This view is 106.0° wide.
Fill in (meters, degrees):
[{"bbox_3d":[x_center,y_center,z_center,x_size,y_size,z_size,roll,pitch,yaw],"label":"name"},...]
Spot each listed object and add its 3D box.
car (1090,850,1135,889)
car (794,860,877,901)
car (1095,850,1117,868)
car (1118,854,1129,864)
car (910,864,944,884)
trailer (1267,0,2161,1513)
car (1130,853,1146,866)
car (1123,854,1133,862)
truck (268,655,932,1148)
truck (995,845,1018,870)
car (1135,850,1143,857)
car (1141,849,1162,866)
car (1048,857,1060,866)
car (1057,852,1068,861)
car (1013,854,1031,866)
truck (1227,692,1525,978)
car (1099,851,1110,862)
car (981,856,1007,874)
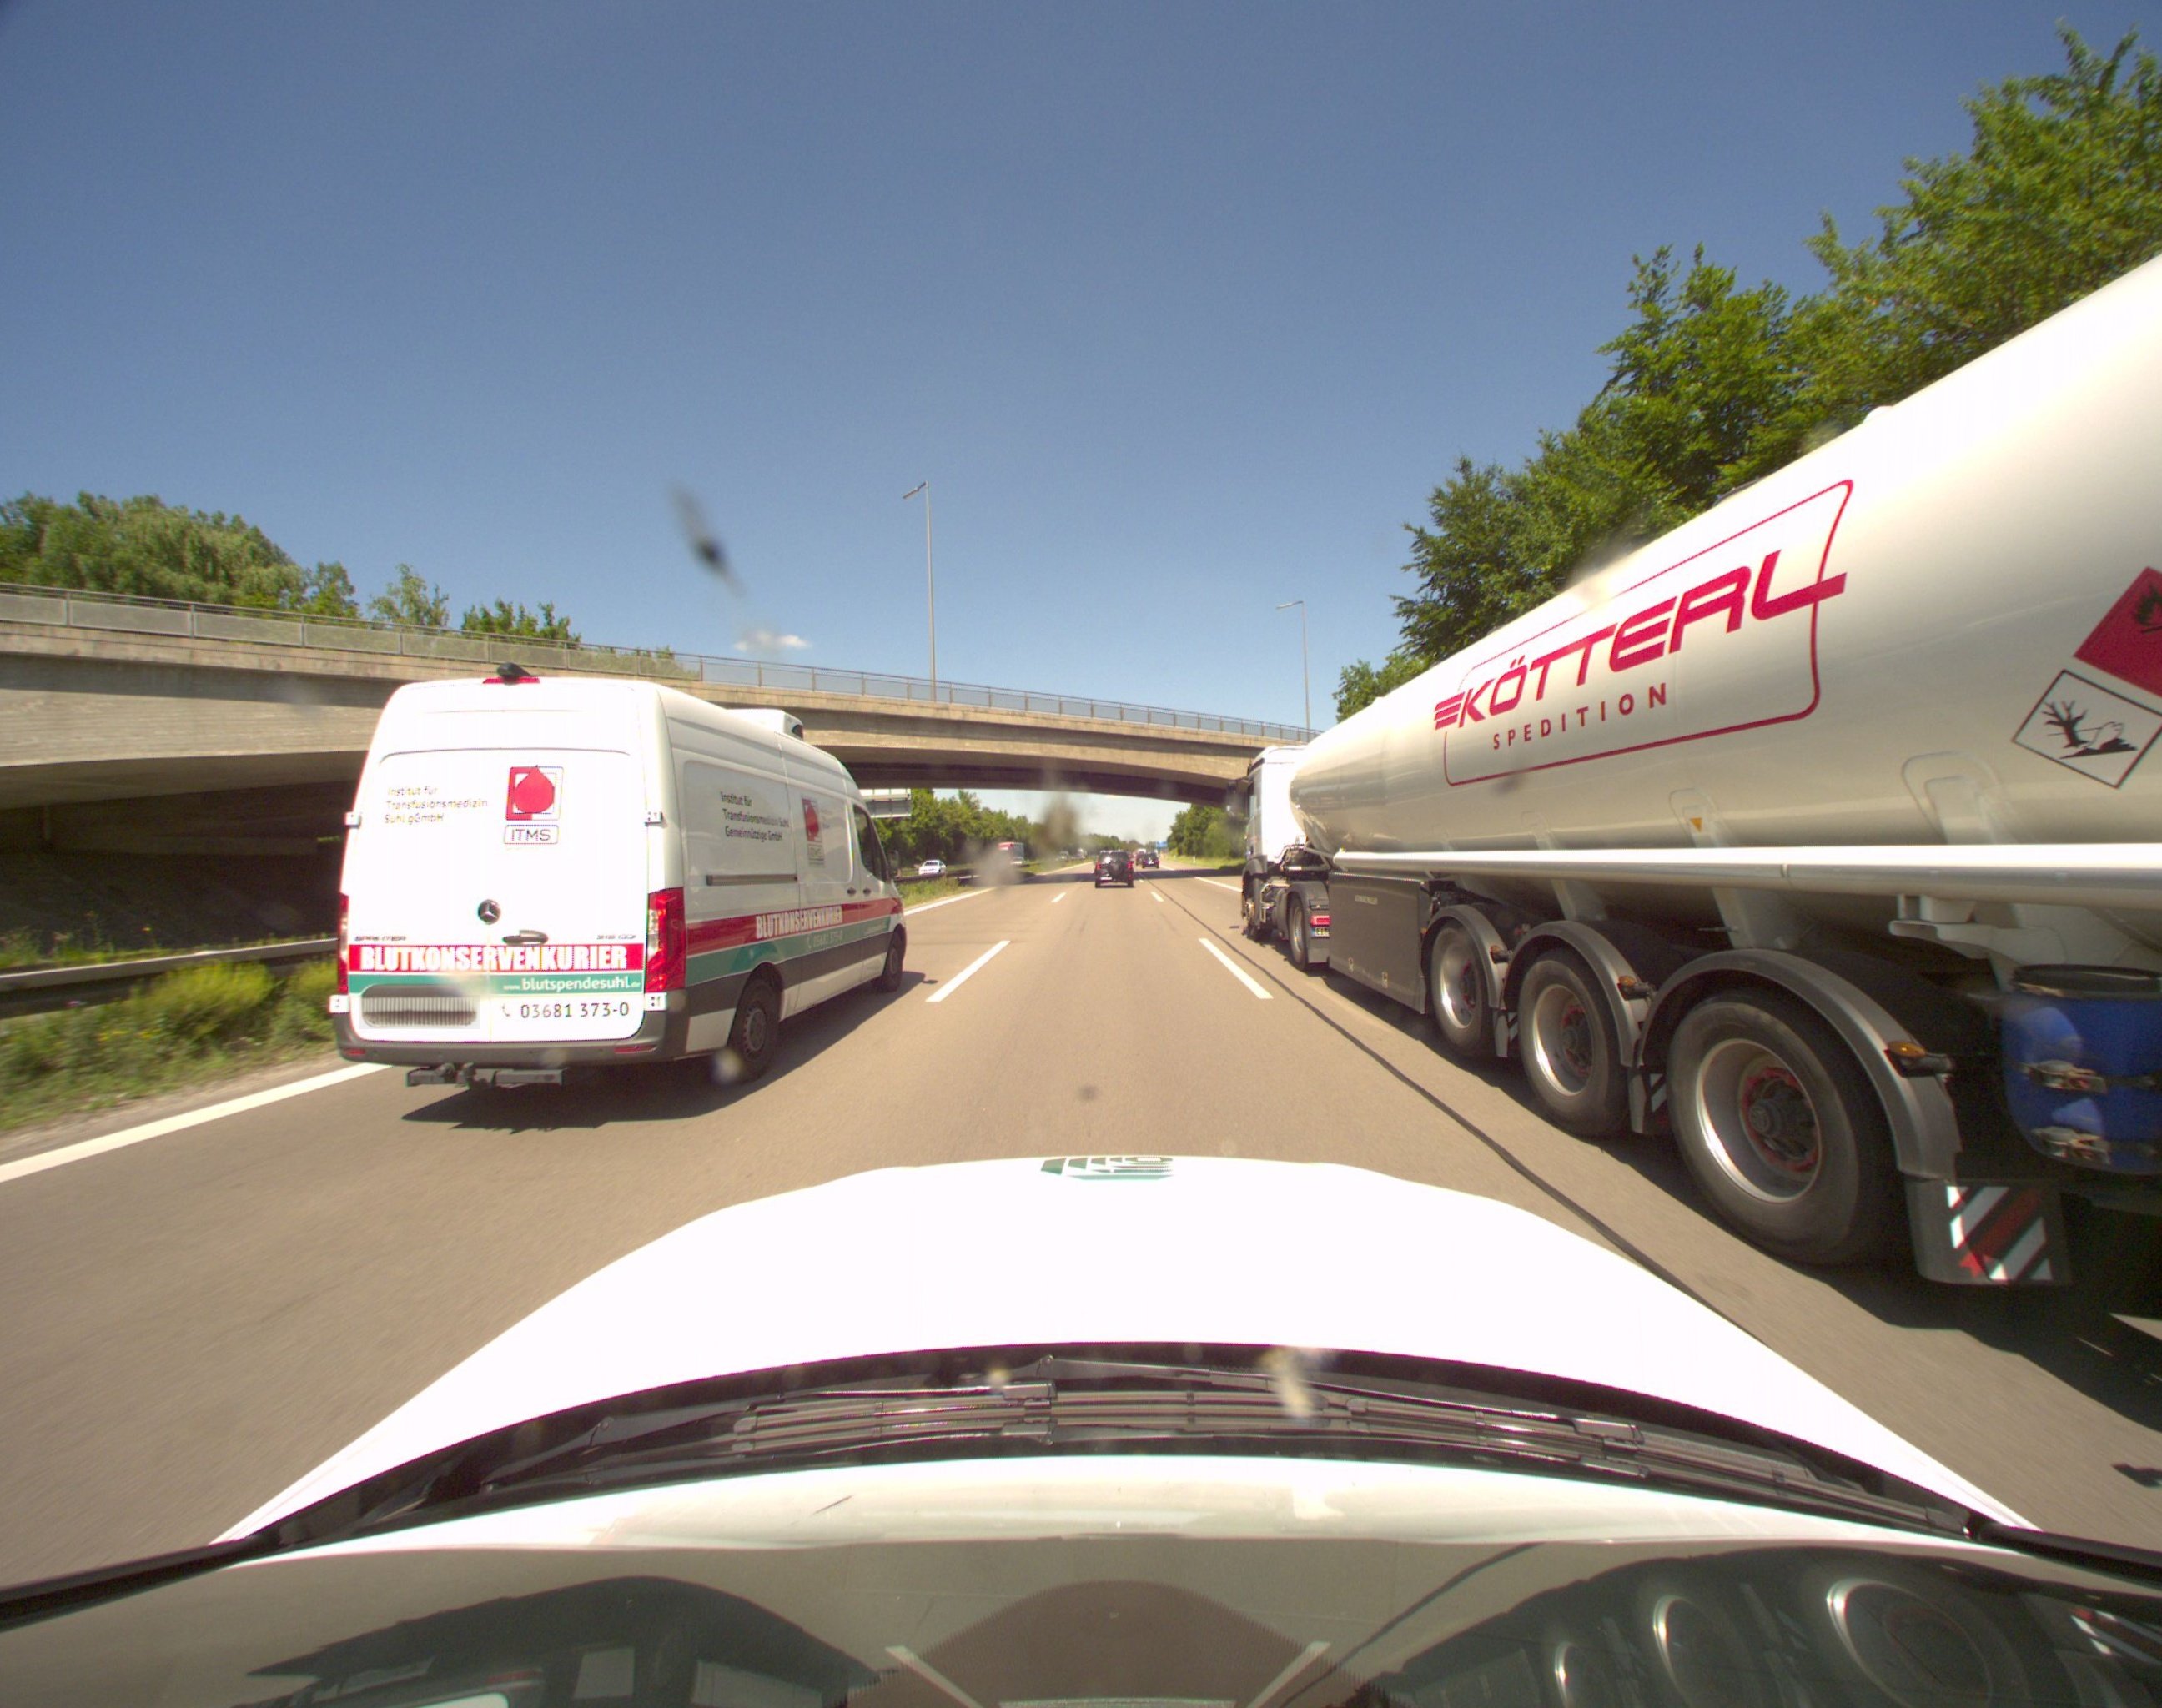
[{"bbox_3d":[1.420,0.678,37.792,1.900,1.665,4.000,-2,0,0],"label":"car"},{"bbox_3d":[-10.221,1.062,34.247,1.853,1.527,4.753,-2,0,2],"label":"car"},{"bbox_3d":[2.526,0.524,81.859,1.985,1.706,4.339,-2,0,3],"label":"car"},{"bbox_3d":[8.454,0.955,162.417,1.986,2.013,4.769,-2,0,2],"label":"car"},{"bbox_3d":[-12.867,1.653,68.214,1.853,1.527,4.216,-2,0,2],"label":"car"},{"bbox_3d":[3.881,-0.215,6.299,2.638,3.390,11.156,-1,0,2],"label":"trailer"},{"bbox_3d":[7.264,0.720,103.786,1.835,1.611,4.002,-2,-1,2],"label":"car"},{"bbox_3d":[11.350,1.016,196.741,1.986,1.750,4.206,-2,0,1],"label":"car"},{"bbox_3d":[-3.113,0.242,7.571,1.986,2.542,6.695,0,0,2],"label":"truck"},{"bbox_3d":[-12.954,0.607,142.371,2.774,4.060,6.214,-4,0,3],"label":"truck"},{"bbox_3d":[14.986,-0.255,211.237,1.806,1.746,3.999,-2,0,0],"label":"car"},{"bbox_3d":[7.233,0.401,84.086,1.985,1.684,4.002,-2,-1,3],"label":"car"},{"bbox_3d":[-4.760,1.315,144.116,1.874,1.483,4.437,-2,0,3],"label":"car"},{"bbox_3d":[-4.531,0.631,201.004,1.985,2.235,6.522,-2,-1,3],"label":"car"},{"bbox_3d":[-7.348,0.738,101.178,1.676,1.481,4.351,-2,0,3],"label":"car"},{"bbox_3d":[4.093,-0.216,12.955,2.627,3.374,6.492,-1,0,3],"label":"truck"},{"bbox_3d":[4.685,0.530,164.486,1.985,2.013,4.954,-2,0,3],"label":"car"},{"bbox_3d":[-8.266,1.021,77.380,1.768,1.473,4.421,-4,0,2],"label":"car"}]
